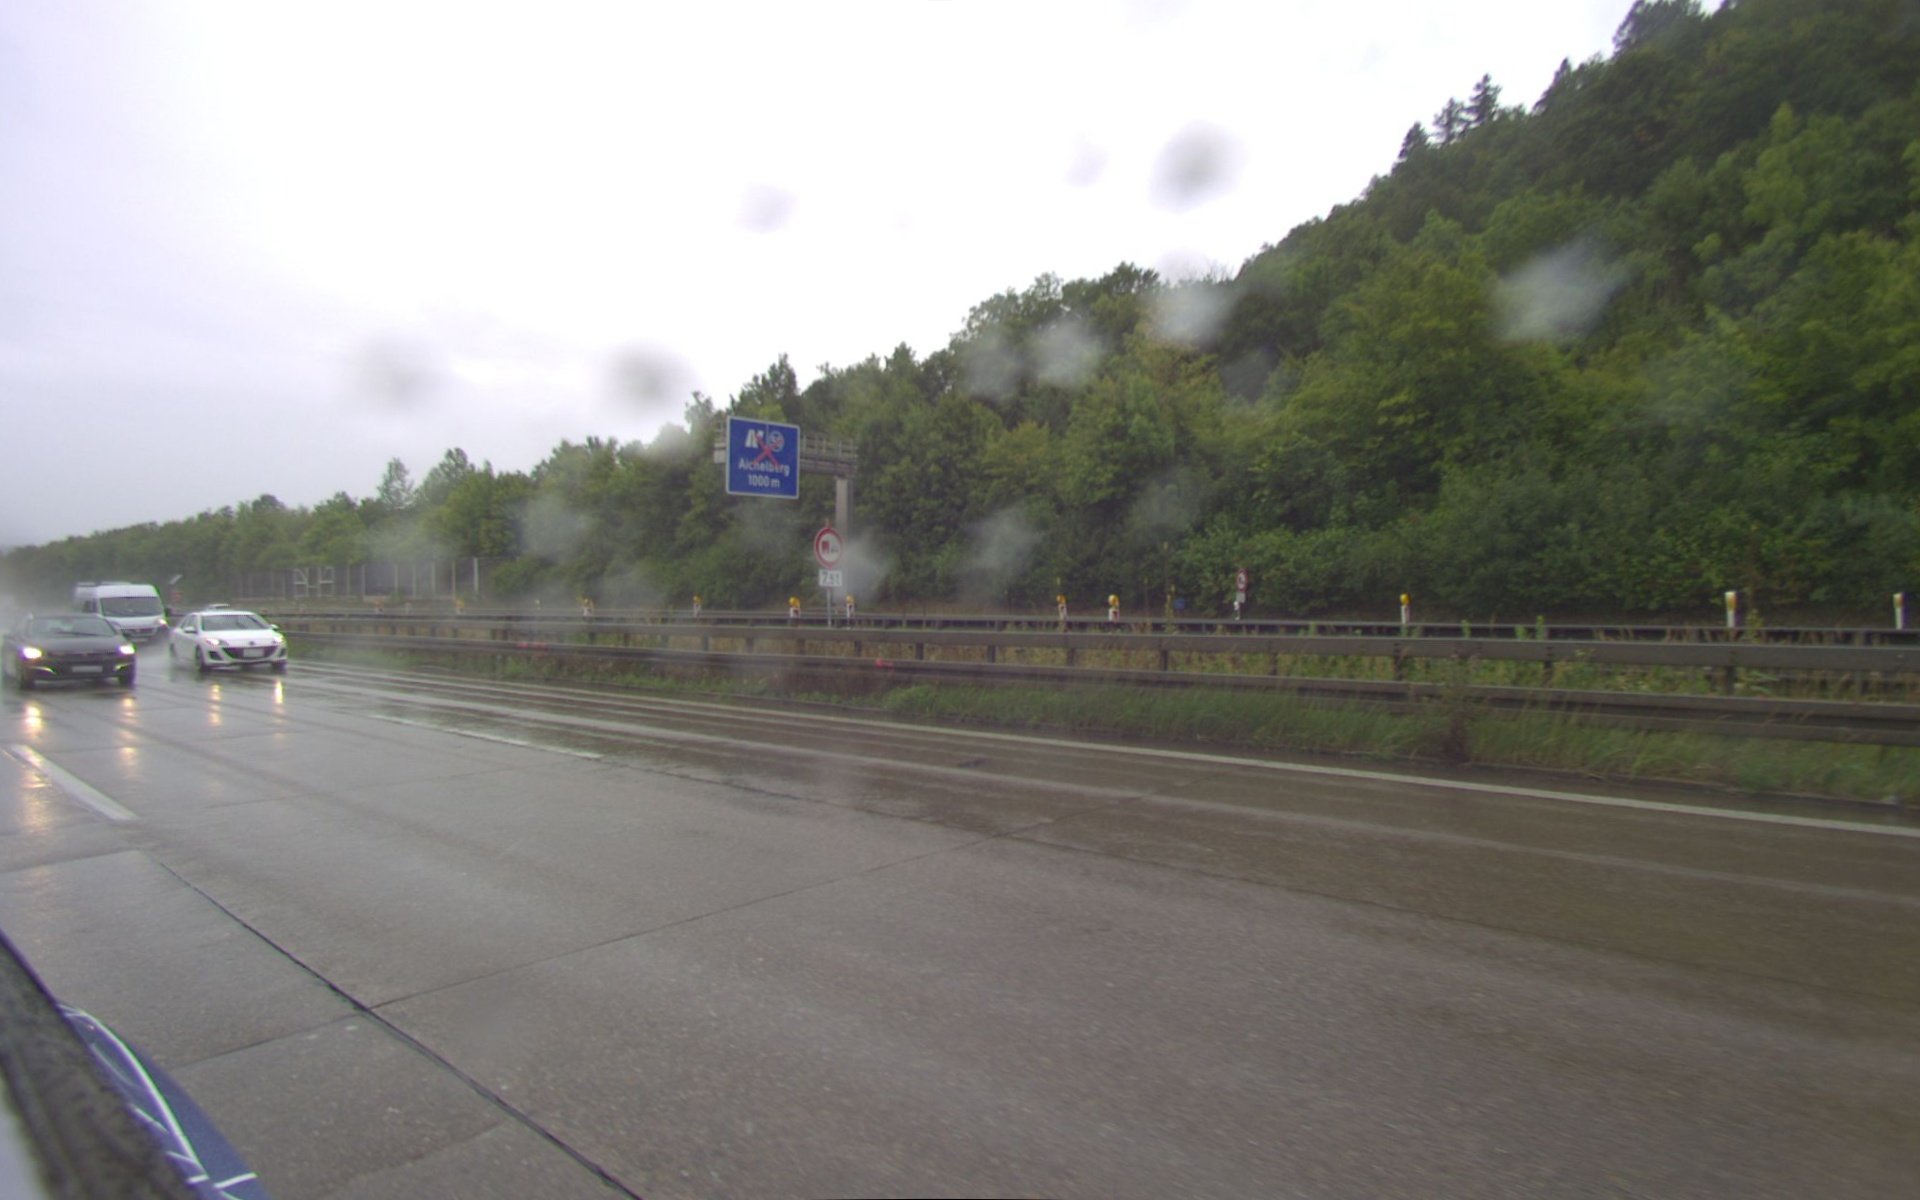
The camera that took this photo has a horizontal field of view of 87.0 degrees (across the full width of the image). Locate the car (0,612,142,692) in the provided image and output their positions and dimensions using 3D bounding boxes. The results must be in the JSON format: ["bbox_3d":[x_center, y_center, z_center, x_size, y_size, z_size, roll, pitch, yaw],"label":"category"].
[{"bbox_3d":[-18.554,0.988,20.844,4.516,1.445,1.909,-1,0,41],"label":"car"}]

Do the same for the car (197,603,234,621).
[{"bbox_3d":[-63.770,1.042,86.659,4.515,1.445,1.650,-1,1,41],"label":"car"}]

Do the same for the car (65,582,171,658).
[{"bbox_3d":[-31.902,0.721,38.258,6.399,2.651,2.020,-1,0,40],"label":"car"}]

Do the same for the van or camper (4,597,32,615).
[{"bbox_3d":[-150.741,1.047,161.926,7.495,2.738,2.530,-1,1,41],"label":"van or camper"}]

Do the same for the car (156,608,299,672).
[{"bbox_3d":[-18.545,0.956,25.546,4.514,1.445,1.909,-1,0,40],"label":"car"}]
